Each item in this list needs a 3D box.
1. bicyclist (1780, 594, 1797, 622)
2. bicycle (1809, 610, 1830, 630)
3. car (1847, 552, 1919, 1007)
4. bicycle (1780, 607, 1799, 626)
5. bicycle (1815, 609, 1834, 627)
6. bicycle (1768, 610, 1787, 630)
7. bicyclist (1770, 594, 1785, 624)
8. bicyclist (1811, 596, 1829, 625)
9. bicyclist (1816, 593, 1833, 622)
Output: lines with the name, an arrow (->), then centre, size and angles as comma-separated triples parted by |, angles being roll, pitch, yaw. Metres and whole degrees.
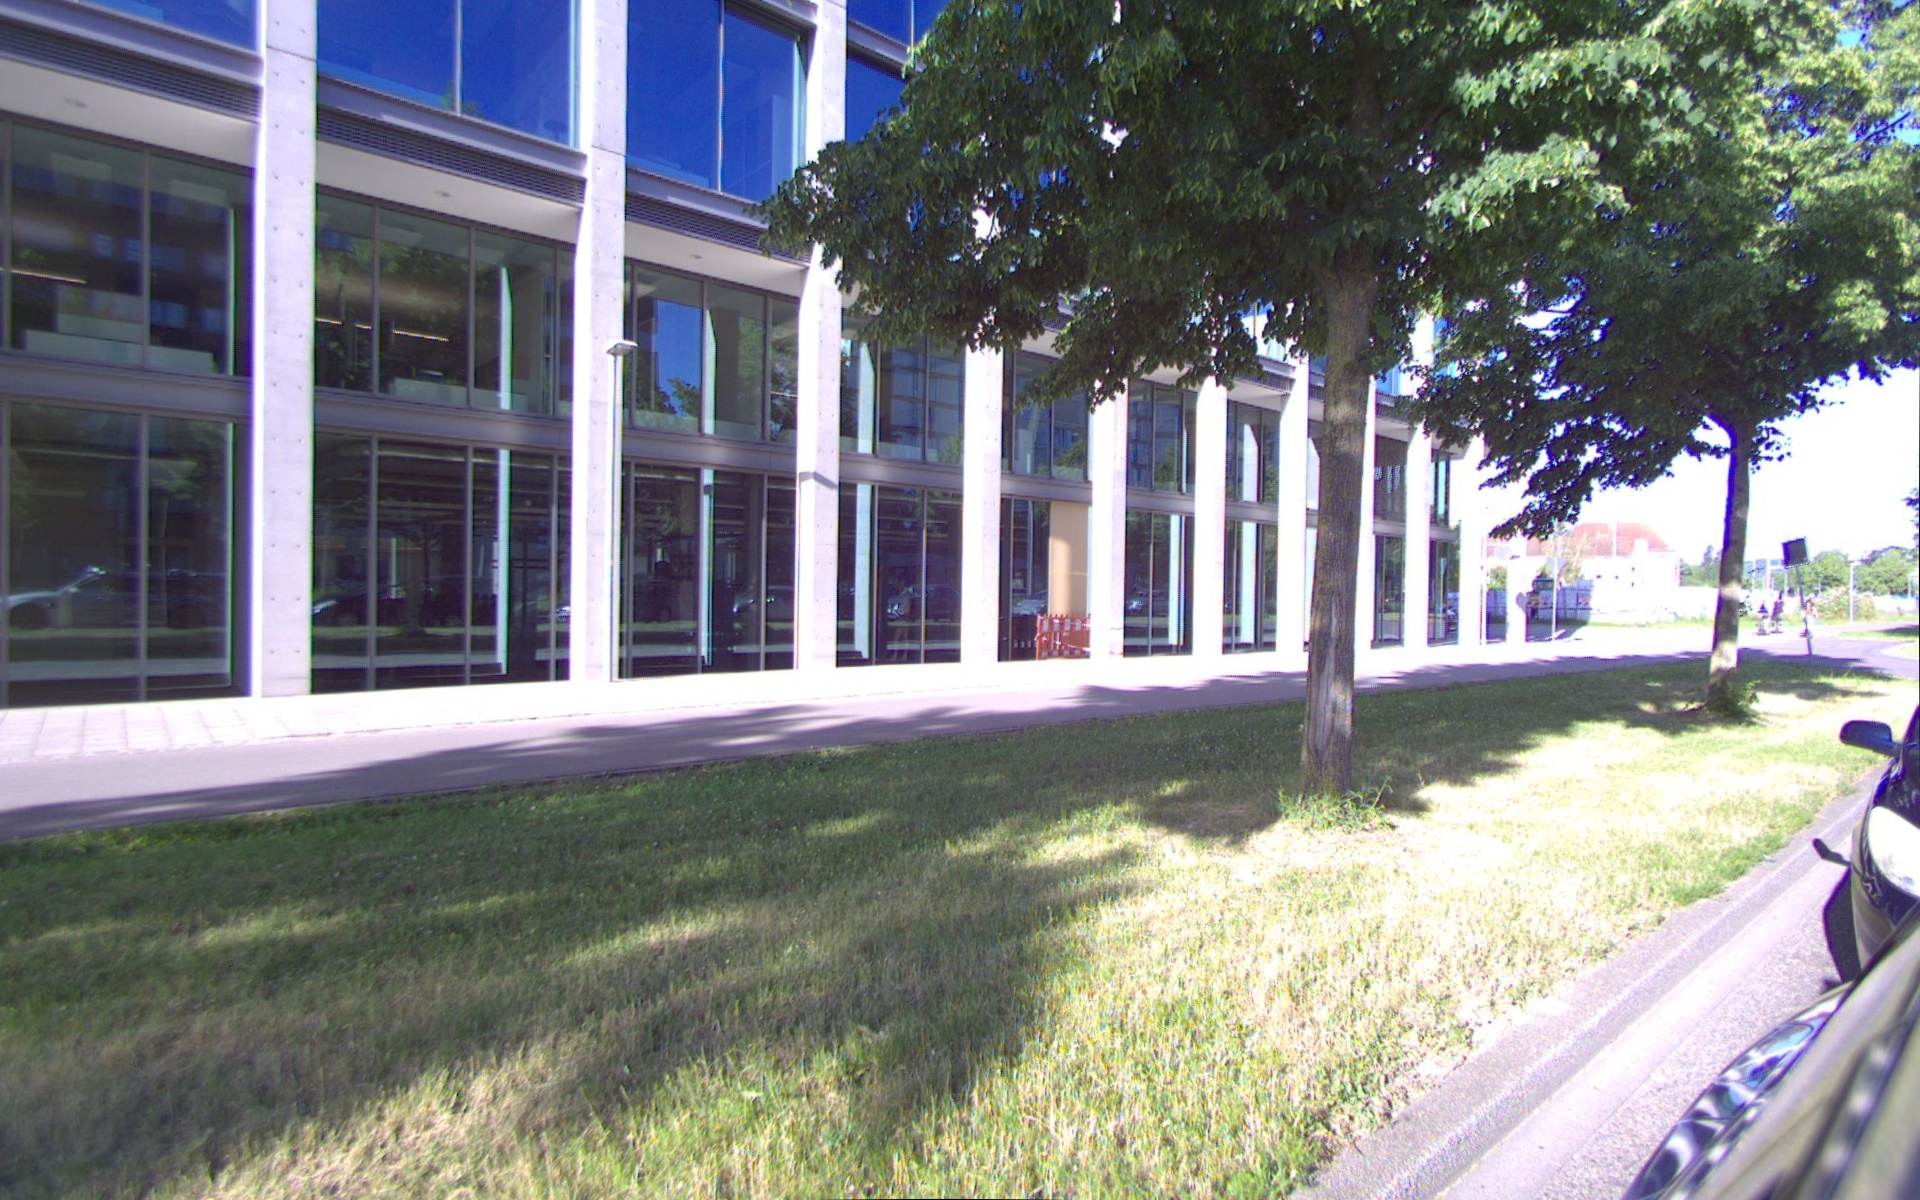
bicyclist -> 38.613, 0.353, 47.154 | 0.449, 1.305, 0.534 | 0, 0, -40
bicycle -> 36.895, 0.866, 43.423 | 1.321, 0.828, 0.464 | -1, 0, -40
car -> 5.082, 0.619, 4.146 | 3.719, 1.541, 1.685 | 0, 1, -41
bicycle -> 38.653, 0.764, 47.136 | 1.321, 0.828, 0.464 | -1, 0, -40
bicycle -> 39.924, 0.830, 46.722 | 1.321, 0.828, 0.464 | -1, 0, -40
bicycle -> 35.947, 0.861, 44.520 | 1.296, 0.828, 0.415 | -1, 0, -40
bicyclist -> 35.958, 0.393, 44.528 | 0.410, 1.305, 0.448 | 0, 0, -40
bicyclist -> 36.895, 0.435, 43.422 | 0.498, 1.232, 0.534 | 0, 0, -40
bicyclist -> 39.880, 0.350, 46.698 | 0.512, 1.305, 0.534 | 0, 0, -40
